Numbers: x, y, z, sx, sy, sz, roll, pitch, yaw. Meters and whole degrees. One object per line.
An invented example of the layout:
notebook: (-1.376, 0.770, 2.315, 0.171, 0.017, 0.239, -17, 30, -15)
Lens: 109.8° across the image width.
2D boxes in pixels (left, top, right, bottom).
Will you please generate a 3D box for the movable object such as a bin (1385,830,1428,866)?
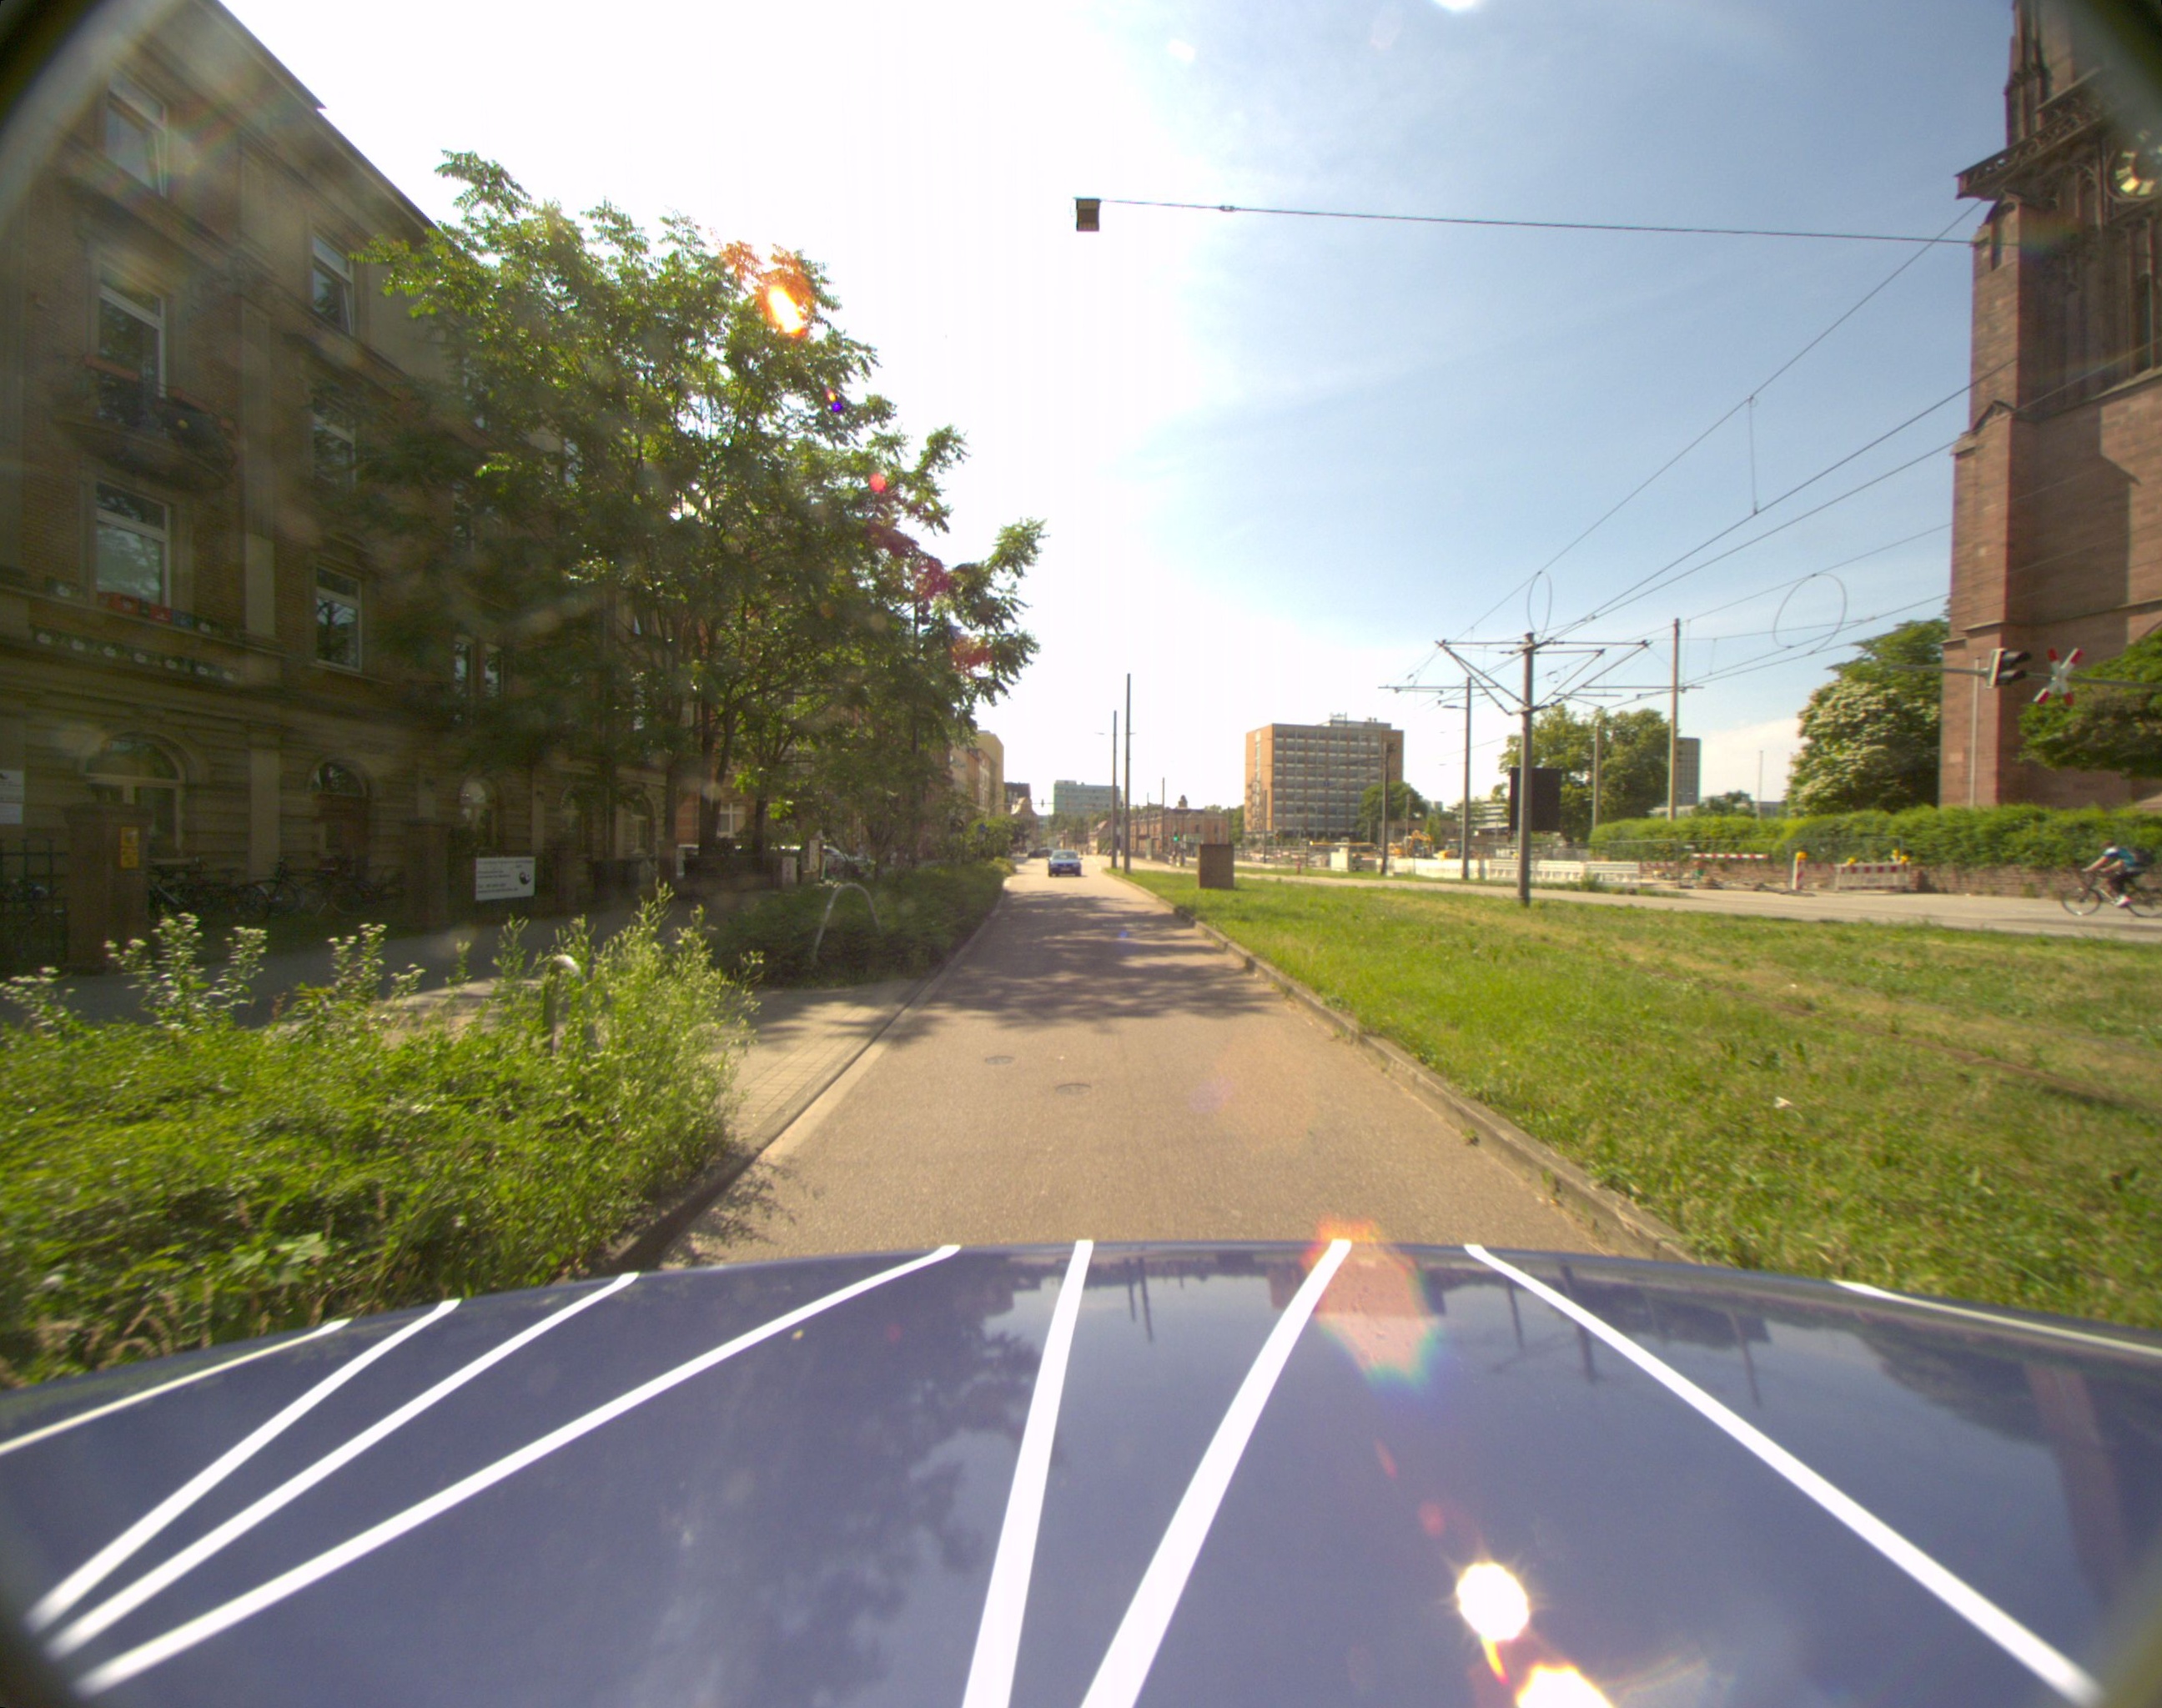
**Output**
movable object such as a bin: (35.880, -0.694, 83.852, 3.341, 3.859, 2.931, 0, 1, -33)

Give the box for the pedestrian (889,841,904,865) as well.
pedestrian: (-13.002, -0.078, 53.455, 0.797, 1.708, 0.967, 1, 1, 0)

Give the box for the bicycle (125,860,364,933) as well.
bicycle: (-13.676, 0.670, 12.531, 2.583, 1.105, 0.772, 1, 1, -19)

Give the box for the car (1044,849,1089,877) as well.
car: (-0.720, 0.423, 40.636, 1.885, 1.401, 4.095, 1, 1, 6)

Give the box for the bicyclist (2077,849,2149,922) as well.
bicyclist: (25.331, 0.753, 18.665, 0.645, 1.752, 0.794, 1, 1, -2)

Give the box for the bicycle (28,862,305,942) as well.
bicycle: (-13.632, 0.681, 11.461, 2.584, 1.105, 0.772, 1, 1, -24)

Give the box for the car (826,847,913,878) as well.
car: (-10.879, 0.443, 39.287, 4.093, 1.508, 1.886, 1, 1, -9)

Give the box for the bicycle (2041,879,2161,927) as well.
bicycle: (25.324, 1.179, 18.777, 0.657, 1.040, 1.969, 1, 1, -2)

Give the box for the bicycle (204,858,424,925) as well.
bicycle: (-13.793, 0.653, 13.798, 2.583, 1.105, 1.111, 1, 1, -19)
